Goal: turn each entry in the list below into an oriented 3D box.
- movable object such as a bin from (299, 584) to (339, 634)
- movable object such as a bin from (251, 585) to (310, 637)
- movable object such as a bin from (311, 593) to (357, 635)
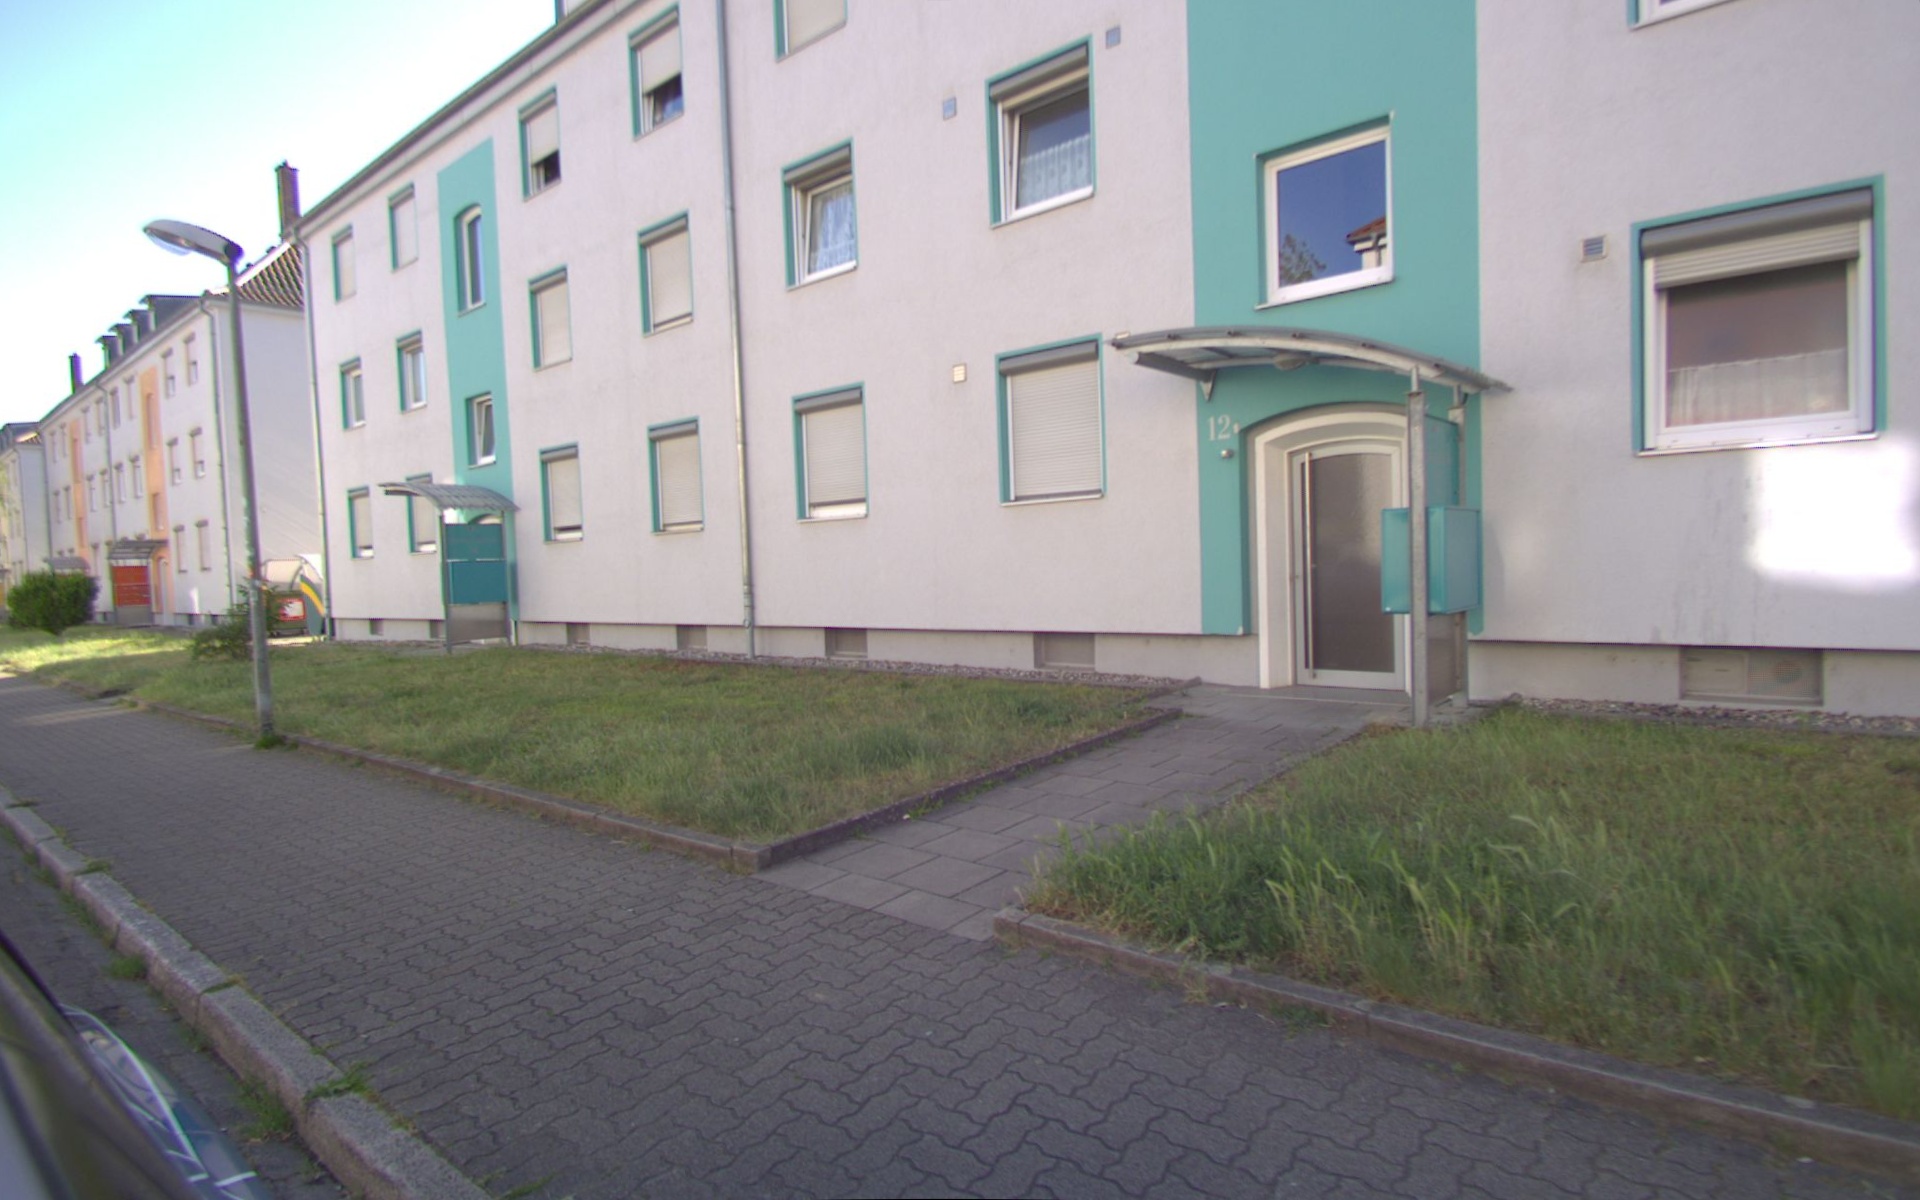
[{"bbox_3d":[-18.779,0.259,29.671,0.762,1.403,0.744,-1,2,40],"label":"movable object such as a bin"},{"bbox_3d":[-19.404,0.312,28.906,0.877,1.403,1.152,-1,2,40],"label":"movable object such as a bin"},{"bbox_3d":[-15.826,0.345,25.581,0.762,1.020,0.744,-1,2,40],"label":"movable object such as a bin"}]
